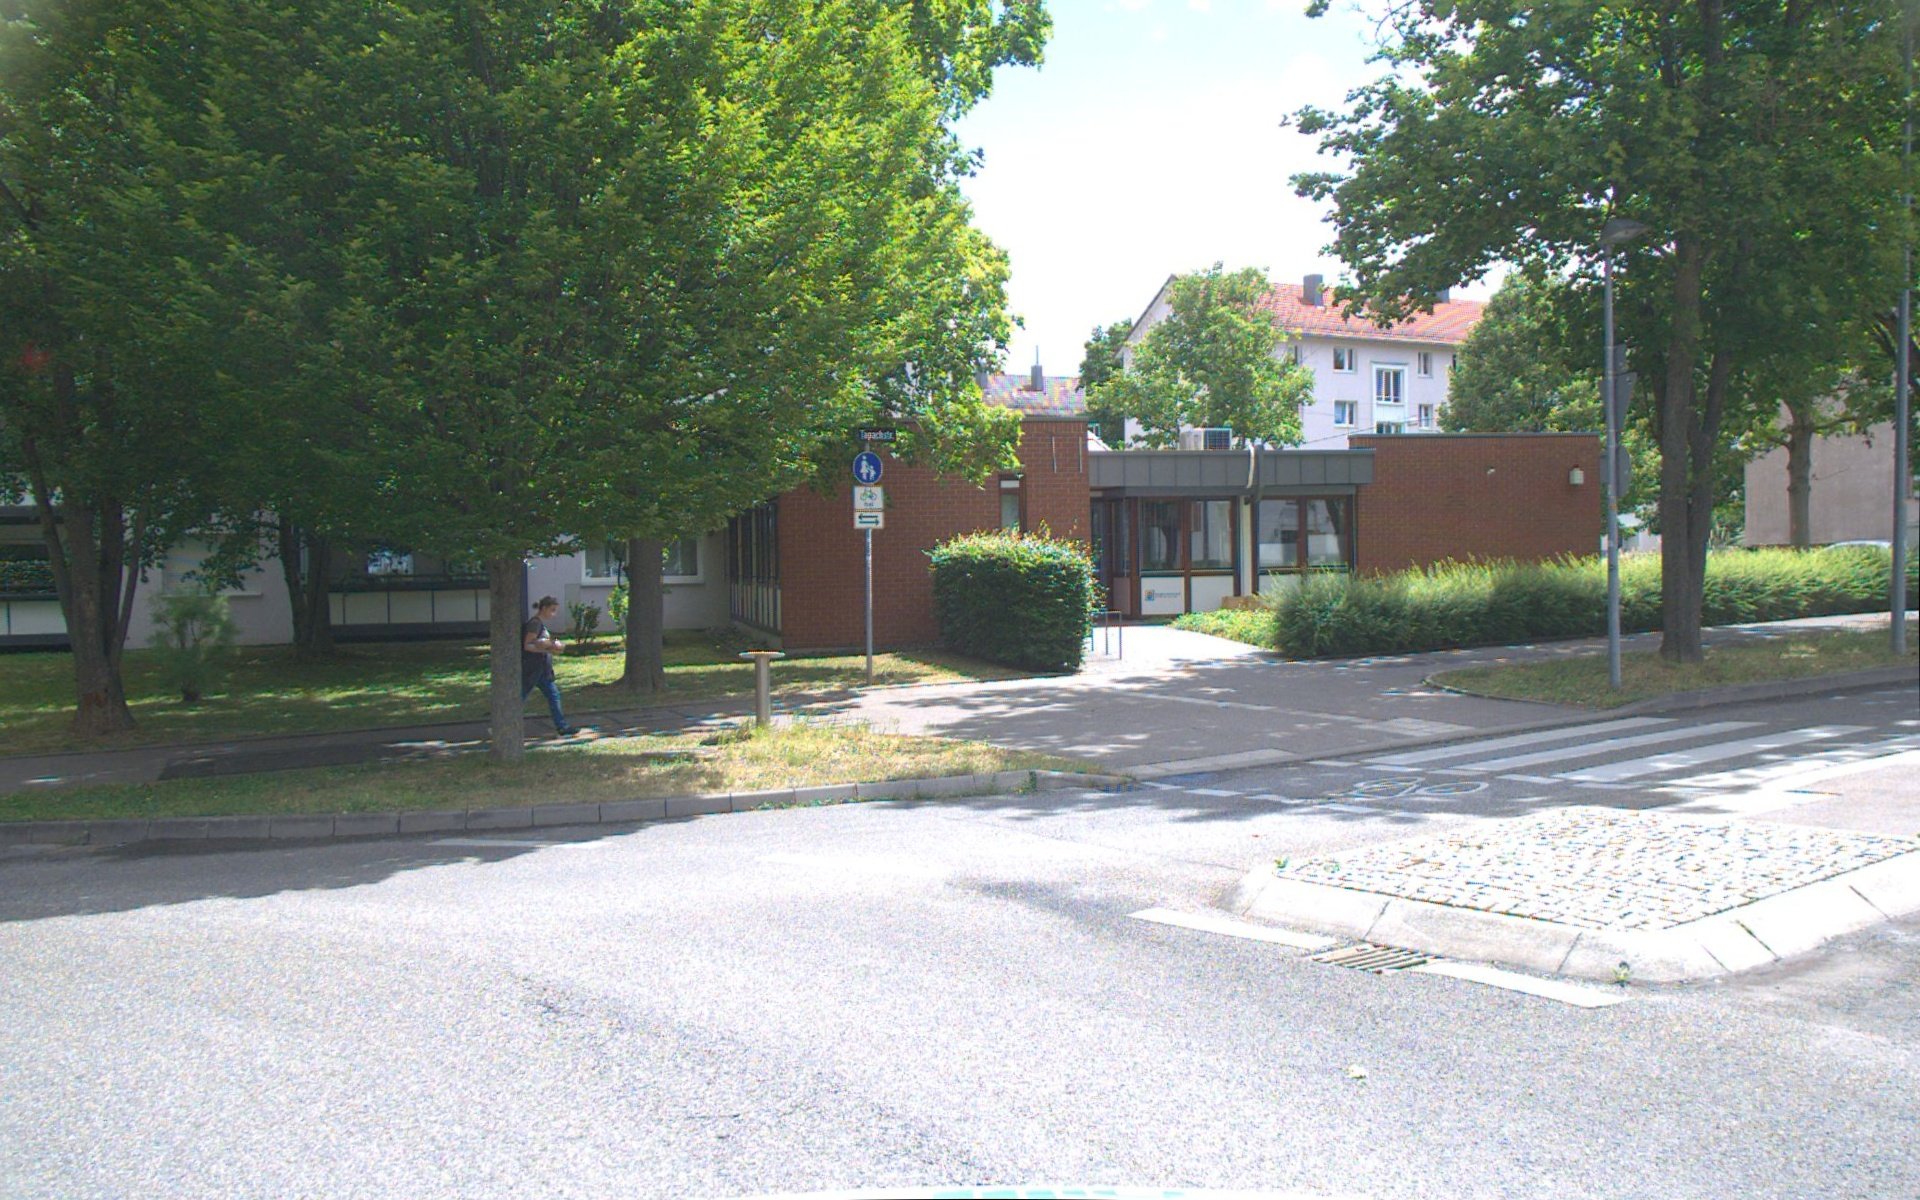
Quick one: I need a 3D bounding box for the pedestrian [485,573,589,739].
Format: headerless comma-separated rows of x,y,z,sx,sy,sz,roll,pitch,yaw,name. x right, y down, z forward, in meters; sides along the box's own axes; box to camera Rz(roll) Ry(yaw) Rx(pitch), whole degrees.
-4.379,0.557,17.095,0.827,1.606,0.716,-5,2,-23,pedestrian

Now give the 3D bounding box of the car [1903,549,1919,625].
26.769,-0.330,42.529,1.989,1.975,3.964,-1,1,-28,car
